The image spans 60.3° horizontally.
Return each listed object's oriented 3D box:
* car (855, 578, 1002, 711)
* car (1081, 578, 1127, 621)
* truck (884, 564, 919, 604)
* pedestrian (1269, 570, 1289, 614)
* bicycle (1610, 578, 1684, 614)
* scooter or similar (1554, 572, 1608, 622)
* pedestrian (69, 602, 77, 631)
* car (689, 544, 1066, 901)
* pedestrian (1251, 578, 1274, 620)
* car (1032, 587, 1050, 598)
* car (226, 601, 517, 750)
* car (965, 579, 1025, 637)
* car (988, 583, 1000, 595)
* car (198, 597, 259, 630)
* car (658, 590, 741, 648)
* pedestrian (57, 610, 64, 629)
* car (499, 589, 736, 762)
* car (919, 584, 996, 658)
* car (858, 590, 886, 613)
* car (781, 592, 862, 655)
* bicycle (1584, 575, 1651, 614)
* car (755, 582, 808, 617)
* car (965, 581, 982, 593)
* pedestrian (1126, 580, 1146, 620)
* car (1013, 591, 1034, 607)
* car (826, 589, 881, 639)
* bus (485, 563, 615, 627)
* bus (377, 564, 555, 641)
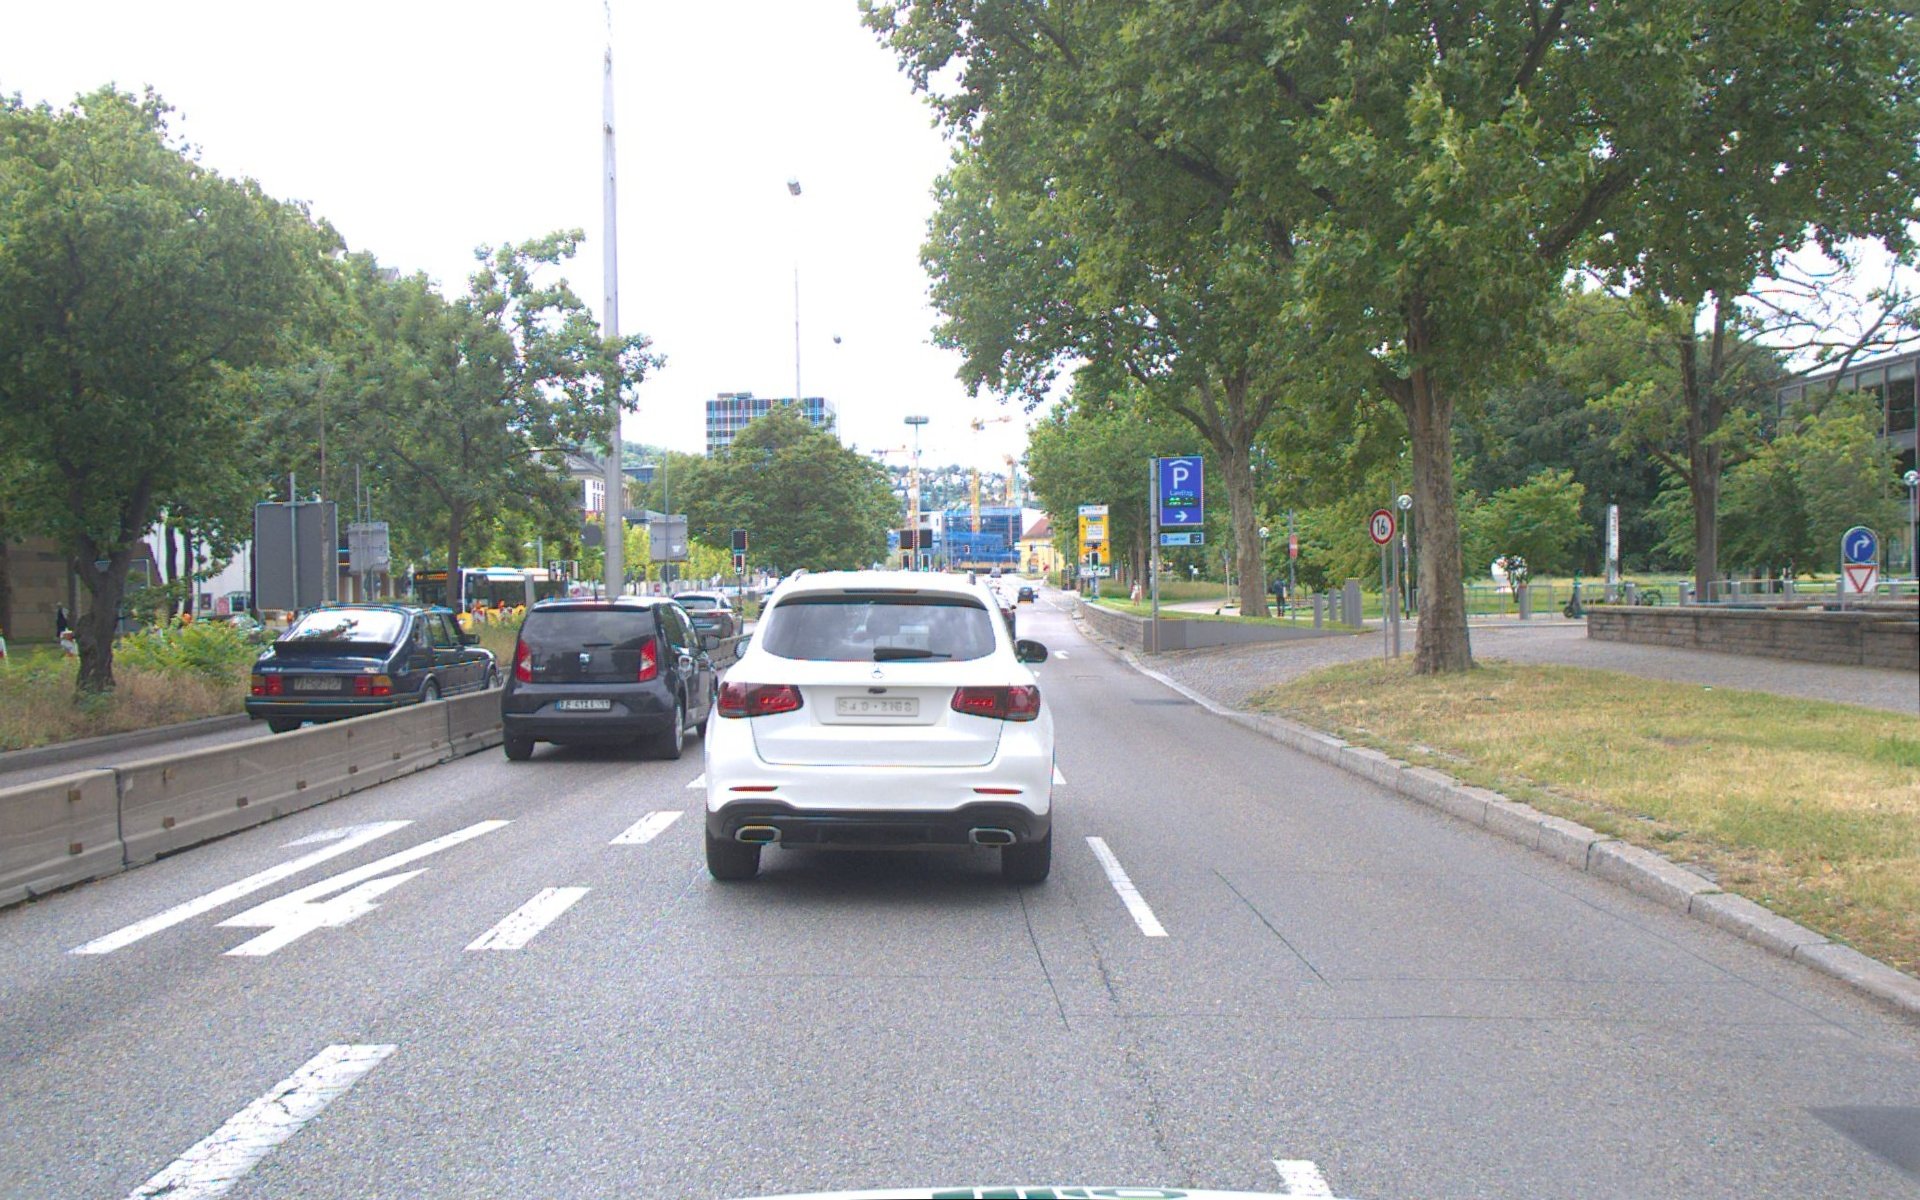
[{"bbox_3d":[-0.524,0.592,23.226,1.761,1.636,3.750,-2,-1,-5],"label":"car"},{"bbox_3d":[7.066,-0.019,81.309,1.952,2.049,4.000,0,0,1],"label":"car"},{"bbox_3d":[-4.423,-1.188,125.528,2.568,2.911,7.076,1,0,-1],"label":"truck"},{"bbox_3d":[12.799,-0.326,66.426,0.743,1.755,0.699,-1,0,7],"label":"pedestrian"},{"bbox_3d":[19.876,-0.117,47.901,0.934,0.992,2.786,1,0,-1],"label":"bicycle"},{"bbox_3d":[16.095,-0.067,42.928,0.622,1.267,2.226,1,0,2],"label":"scooter or similar"},{"bbox_3d":[-34.319,0.645,63.976,0.211,1.097,0.258,1,-1,-18],"label":"pedestrian"},{"bbox_3d":[-0.336,0.572,9.963,1.751,1.653,4.438,-1,0,1],"label":"car"},{"bbox_3d":[11.773,-0.048,64.428,0.650,1.639,0.637,-1,0,-18],"label":"pedestrian"},{"bbox_3d":[9.411,-0.851,191.979,1.907,1.343,4.017,0,0,1],"label":"car"},{"bbox_3d":[-6.337,0.736,18.365,1.644,1.391,4.542,-1,0,-1],"label":"car"},{"bbox_3d":[1.109,0.225,53.696,1.788,1.783,3.999,-1,0,-1],"label":"car"},{"bbox_3d":[4.874,-1.616,237.309,1.722,1.698,4.168,-1,0,0],"label":"car"},{"bbox_3d":[-44.574,0.824,100.844,1.953,1.948,3.999,-1,0,-1],"label":"car"},{"bbox_3d":[-6.858,0.487,43.854,1.627,1.461,3.959,0,0,-1],"label":"car"},{"bbox_3d":[-34.744,0.754,63.894,0.162,0.757,0.138,1,-1,-10],"label":"pedestrian"},{"bbox_3d":[-3.246,0.654,16.308,1.575,1.499,3.622,-1,0,0],"label":"car"},{"bbox_3d":[-0.106,0.465,38.897,1.626,1.668,3.545,0,0,-3],"label":"car"},{"bbox_3d":[-5.952,0.098,111.967,1.625,1.540,3.547,-1,0,0],"label":"car"},{"bbox_3d":[-3.343,0.541,40.467,1.761,1.462,4.019,0,0,-2],"label":"car"},{"bbox_3d":[18.826,-0.154,47.424,0.934,1.082,2.335,1,0,-1],"label":"bicycle"},{"bbox_3d":[-7.775,-0.051,72.401,1.739,1.445,4.001,-1,1,2],"label":"car"},{"bbox_3d":[1.520,-1.417,186.883,1.907,1.343,4.017,0,0,1],"label":"car"},{"bbox_3d":[9.050,-0.019,85.157,0.746,2.049,0.696,-1,0,36],"label":"pedestrian"},{"bbox_3d":[6.115,-0.093,158.812,1.907,1.453,4.017,0,0,1],"label":"car"},{"bbox_3d":[-3.682,0.474,57.487,1.814,1.656,4.903,0,0,-3],"label":"car"},{"bbox_3d":[-22.700,-0.318,92.739,3.592,3.261,14.274,-1,0,0],"label":"bus"},{"bbox_3d":[-23.093,-0.048,78.601,3.591,3.261,14.280,-1,1,3],"label":"bus"}]
